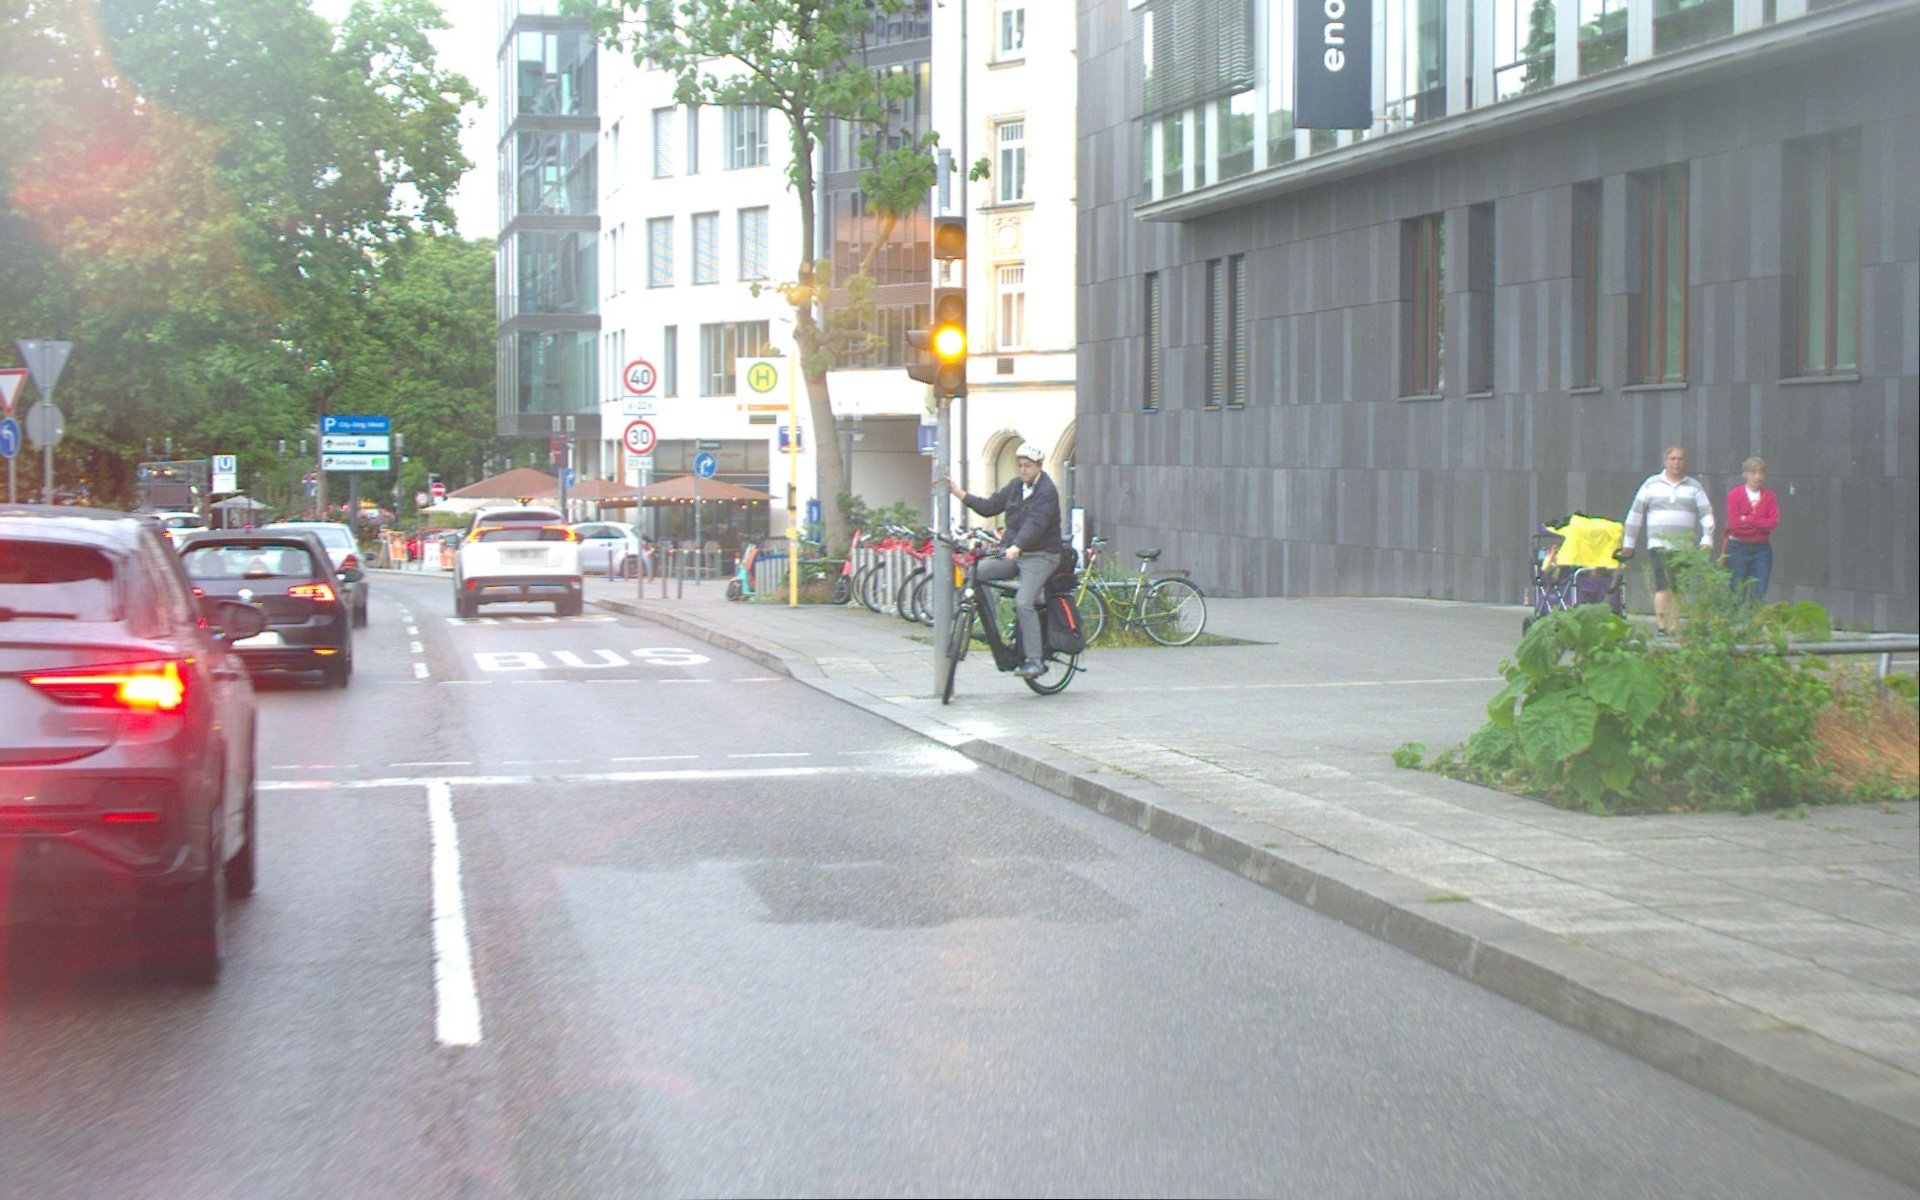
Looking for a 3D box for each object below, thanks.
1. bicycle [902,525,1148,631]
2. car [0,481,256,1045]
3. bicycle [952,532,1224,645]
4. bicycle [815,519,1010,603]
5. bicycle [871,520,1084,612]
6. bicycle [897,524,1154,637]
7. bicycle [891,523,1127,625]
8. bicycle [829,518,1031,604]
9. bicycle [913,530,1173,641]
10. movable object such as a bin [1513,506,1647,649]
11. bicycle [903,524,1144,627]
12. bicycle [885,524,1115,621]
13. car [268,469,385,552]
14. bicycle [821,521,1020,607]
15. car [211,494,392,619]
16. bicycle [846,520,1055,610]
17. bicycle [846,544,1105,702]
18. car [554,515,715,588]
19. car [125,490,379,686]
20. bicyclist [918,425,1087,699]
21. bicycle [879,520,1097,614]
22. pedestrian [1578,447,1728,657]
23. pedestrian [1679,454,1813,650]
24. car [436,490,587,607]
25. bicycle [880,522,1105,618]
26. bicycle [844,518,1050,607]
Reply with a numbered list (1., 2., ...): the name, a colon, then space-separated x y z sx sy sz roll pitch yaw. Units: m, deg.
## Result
1. bicycle: 0.692 -0.245 36.774 2.535 1.083 0.678 -1 1 -11
2. car: -3.462 0.401 11.972 1.847 1.610 4.254 0 2 -10
3. bicycle: 1.234 -0.120 33.306 2.535 1.053 0.678 -1 1 -11
4. bicycle: -0.644 -0.531 46.251 2.535 1.083 0.627 -1 1 -11
5. bicycle: 0.213 -0.429 42.369 2.535 1.083 0.678 -1 1 -11
6. bicycle: 0.672 -0.202 35.540 2.535 1.083 0.678 1 1 -11
7. bicycle: 0.545 -0.299 38.432 2.535 1.083 0.678 -1 1 -11
8. bicycle: -0.395 -0.517 44.799 2.535 1.083 0.678 -1 1 -11
9. bicycle: 0.840 -0.154 34.750 2.535 1.083 0.678 -1 1 -11
10. movable object such as a bin: 5.715 -0.222 31.770 0.731 1.259 1.445 -3 2 -9
11. bicycle: 0.694 -0.275 37.633 2.535 1.083 0.678 -1 1 -11
12. bicycle: 0.453 -0.319 39.294 2.535 1.056 0.678 -1 1 -11
13. car: -13.108 -1.852 70.953 1.944 1.641 4.001 0 2 -17
14. bicycle: -0.526 -0.483 45.538 2.535 1.083 0.678 -1 1 -11
15. car: -9.159 -0.638 47.587 1.944 1.641 4.246 0 2 -18
16. bicycle: -0.121 -0.449 43.178 2.535 1.083 0.678 -1 1 -11
17. bicycle: 0.140 0.156 26.493 0.762 1.141 2.128 0 2 42
18. car: -8.816 -1.315 92.929 3.985 1.641 2.001 4 1 -14
19. car: -6.544 -0.167 32.176 2.161 1.700 4.555 0 2 -10
20. bicyclist: 0.335 -0.301 26.717 0.762 2.075 1.082 0 1 42
21. bicycle: 0.335 -0.403 41.398 2.535 1.083 0.678 -1 1 -11
22. pedestrian: 6.133 -0.435 30.462 0.899 1.785 1.047 -3 2 -11
23. pedestrian: 7.019 -0.438 30.748 0.717 1.684 1.100 -3 2 -11
24. car: -6.787 -0.808 51.937 2.178 1.695 4.001 0 2 -8
25. bicycle: 0.379 -0.357 40.200 2.535 1.083 0.678 -1 1 -11
26. bicycle: -0.171 -0.484 43.929 2.535 1.083 0.678 -1 1 -11
